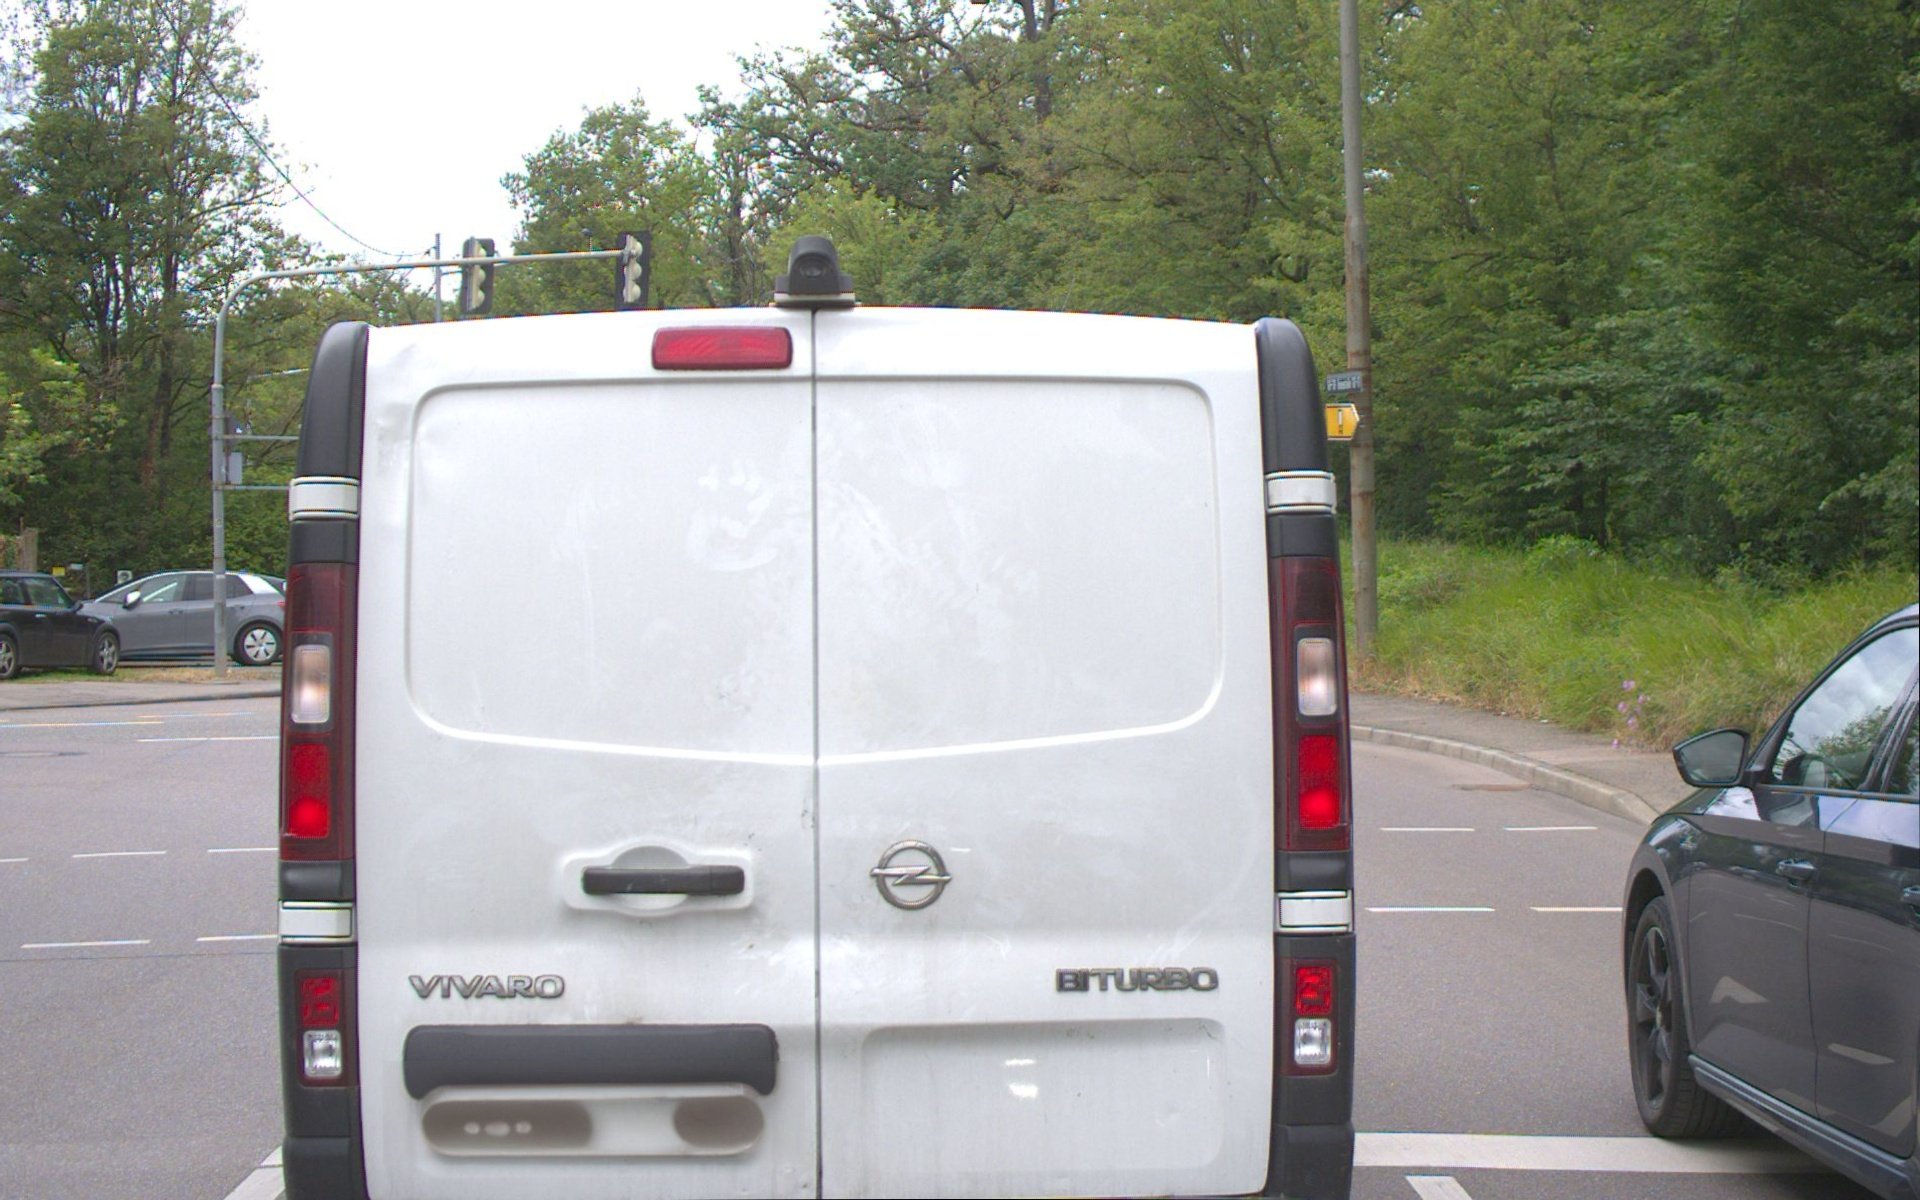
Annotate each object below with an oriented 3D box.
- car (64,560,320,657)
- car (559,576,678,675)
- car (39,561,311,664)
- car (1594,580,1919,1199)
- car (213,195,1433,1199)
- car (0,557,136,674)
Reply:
[{"bbox_3d":[-12.968,0.121,58.002,4.085,1.548,1.855,0,1,-17],"label":"car"},{"bbox_3d":[-5.510,0.383,55.807,1.856,1.501,4.001,0,1,-5],"label":"car"},{"bbox_3d":[-12.542,0.181,54.875,4.085,1.548,1.855,0,1,-17],"label":"car"},{"bbox_3d":[2.680,0.699,7.367,1.792,1.445,4.000,0,1,-2],"label":"car"},{"bbox_3d":[-0.330,0.367,7.812,1.916,2.046,4.615,1,1,-3],"label":"car"},{"bbox_3d":[-12.442,0.176,44.668,1.699,1.444,3.539,2,1,19],"label":"car"}]
